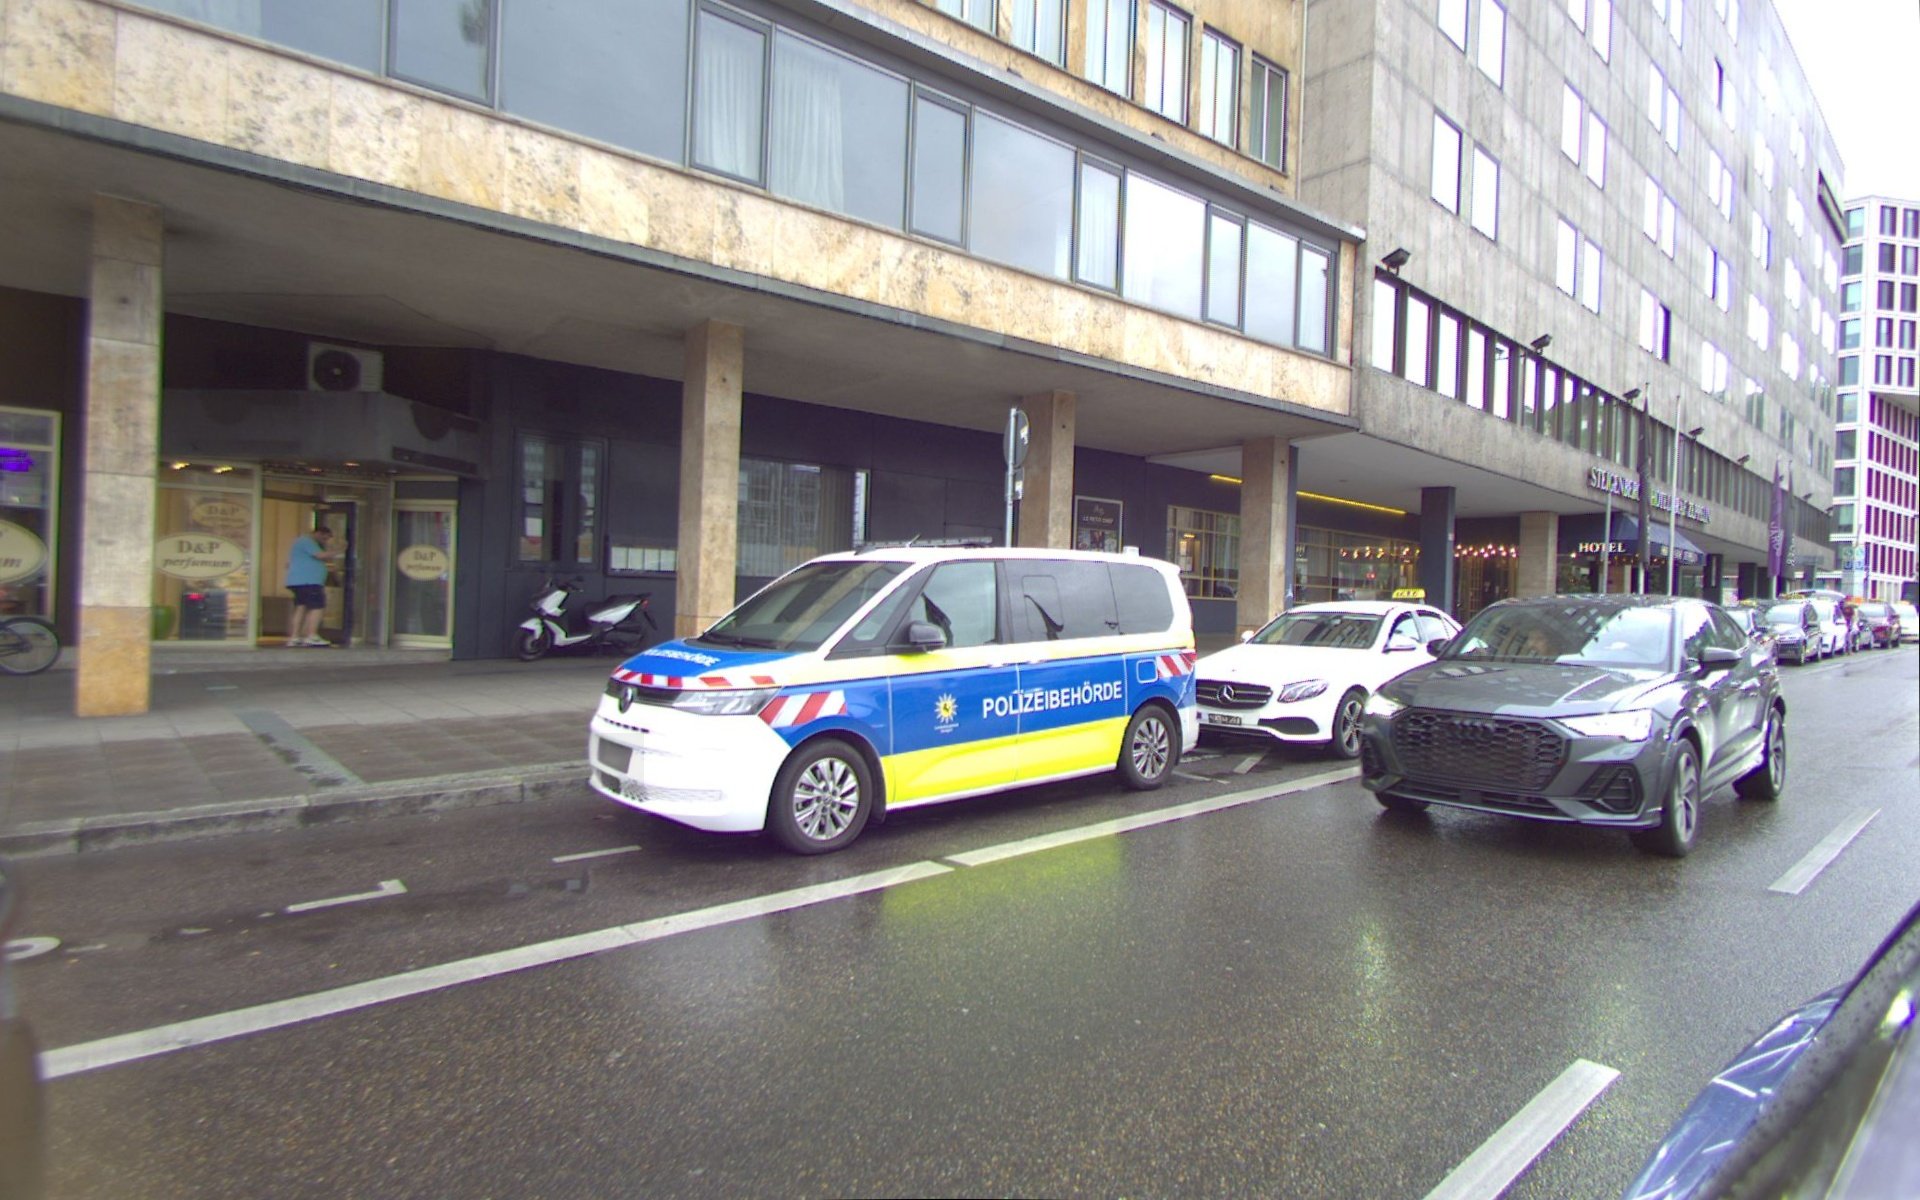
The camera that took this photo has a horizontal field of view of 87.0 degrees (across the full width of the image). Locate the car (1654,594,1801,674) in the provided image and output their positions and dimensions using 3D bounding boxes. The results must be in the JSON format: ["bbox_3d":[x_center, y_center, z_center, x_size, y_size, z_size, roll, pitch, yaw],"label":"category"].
[{"bbox_3d":[17.341,0.673,22.776,4.731,1.612,1.729,0,0,-41],"label":"car"}]

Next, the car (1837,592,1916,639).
[{"bbox_3d":[33.615,0.512,37.092,3.932,1.634,1.729,0,0,-41],"label":"car"}]

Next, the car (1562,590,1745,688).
[{"bbox_3d":[13.085,0.631,18.964,4.731,1.612,1.729,0,0,-41],"label":"car"}]

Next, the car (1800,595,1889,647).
[{"bbox_3d":[29.652,0.645,33.893,3.932,1.634,1.729,0,0,-41],"label":"car"}]

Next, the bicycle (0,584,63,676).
[{"bbox_3d":[-11.700,0.346,11.353,2.428,1.059,0.657,0,0,-41],"label":"bicycle"}]

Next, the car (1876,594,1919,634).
[{"bbox_3d":[41.152,0.581,43.878,3.932,1.634,1.729,0,0,-41],"label":"car"}]

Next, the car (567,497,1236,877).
[{"bbox_3d":[-0.141,0.425,7.504,4.850,1.944,1.877,0,0,-41],"label":"car"}]

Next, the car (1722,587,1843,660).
[{"bbox_3d":[21.861,0.558,26.823,4.731,1.764,1.729,0,0,-41],"label":"car"}]

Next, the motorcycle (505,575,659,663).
[{"bbox_3d":[-5.542,0.257,14.901,2.063,1.233,0.569,0,0,-33],"label":"motorcycle"}]

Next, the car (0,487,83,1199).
[{"bbox_3d":[-3.288,0.648,0.312,4.548,1.520,1.796,0,0,-41],"label":"car"}]

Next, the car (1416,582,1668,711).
[{"bbox_3d":[8.869,0.577,15.236,4.731,1.658,1.877,0,0,-41],"label":"car"}]

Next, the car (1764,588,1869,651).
[{"bbox_3d":[25.645,0.525,30.256,4.731,1.764,1.729,0,0,-41],"label":"car"}]

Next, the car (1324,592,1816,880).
[{"bbox_3d":[4.676,0.708,7.490,4.266,1.520,1.882,0,0,-40],"label":"car"}]

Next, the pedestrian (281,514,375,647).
[{"bbox_3d":[-9.040,-0.271,14.481,1.114,1.813,0.801,0,0,-33],"label":"pedestrian"}]

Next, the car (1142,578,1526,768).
[{"bbox_3d":[4.298,0.616,11.174,4.924,1.658,1.877,0,0,-41],"label":"car"}]
